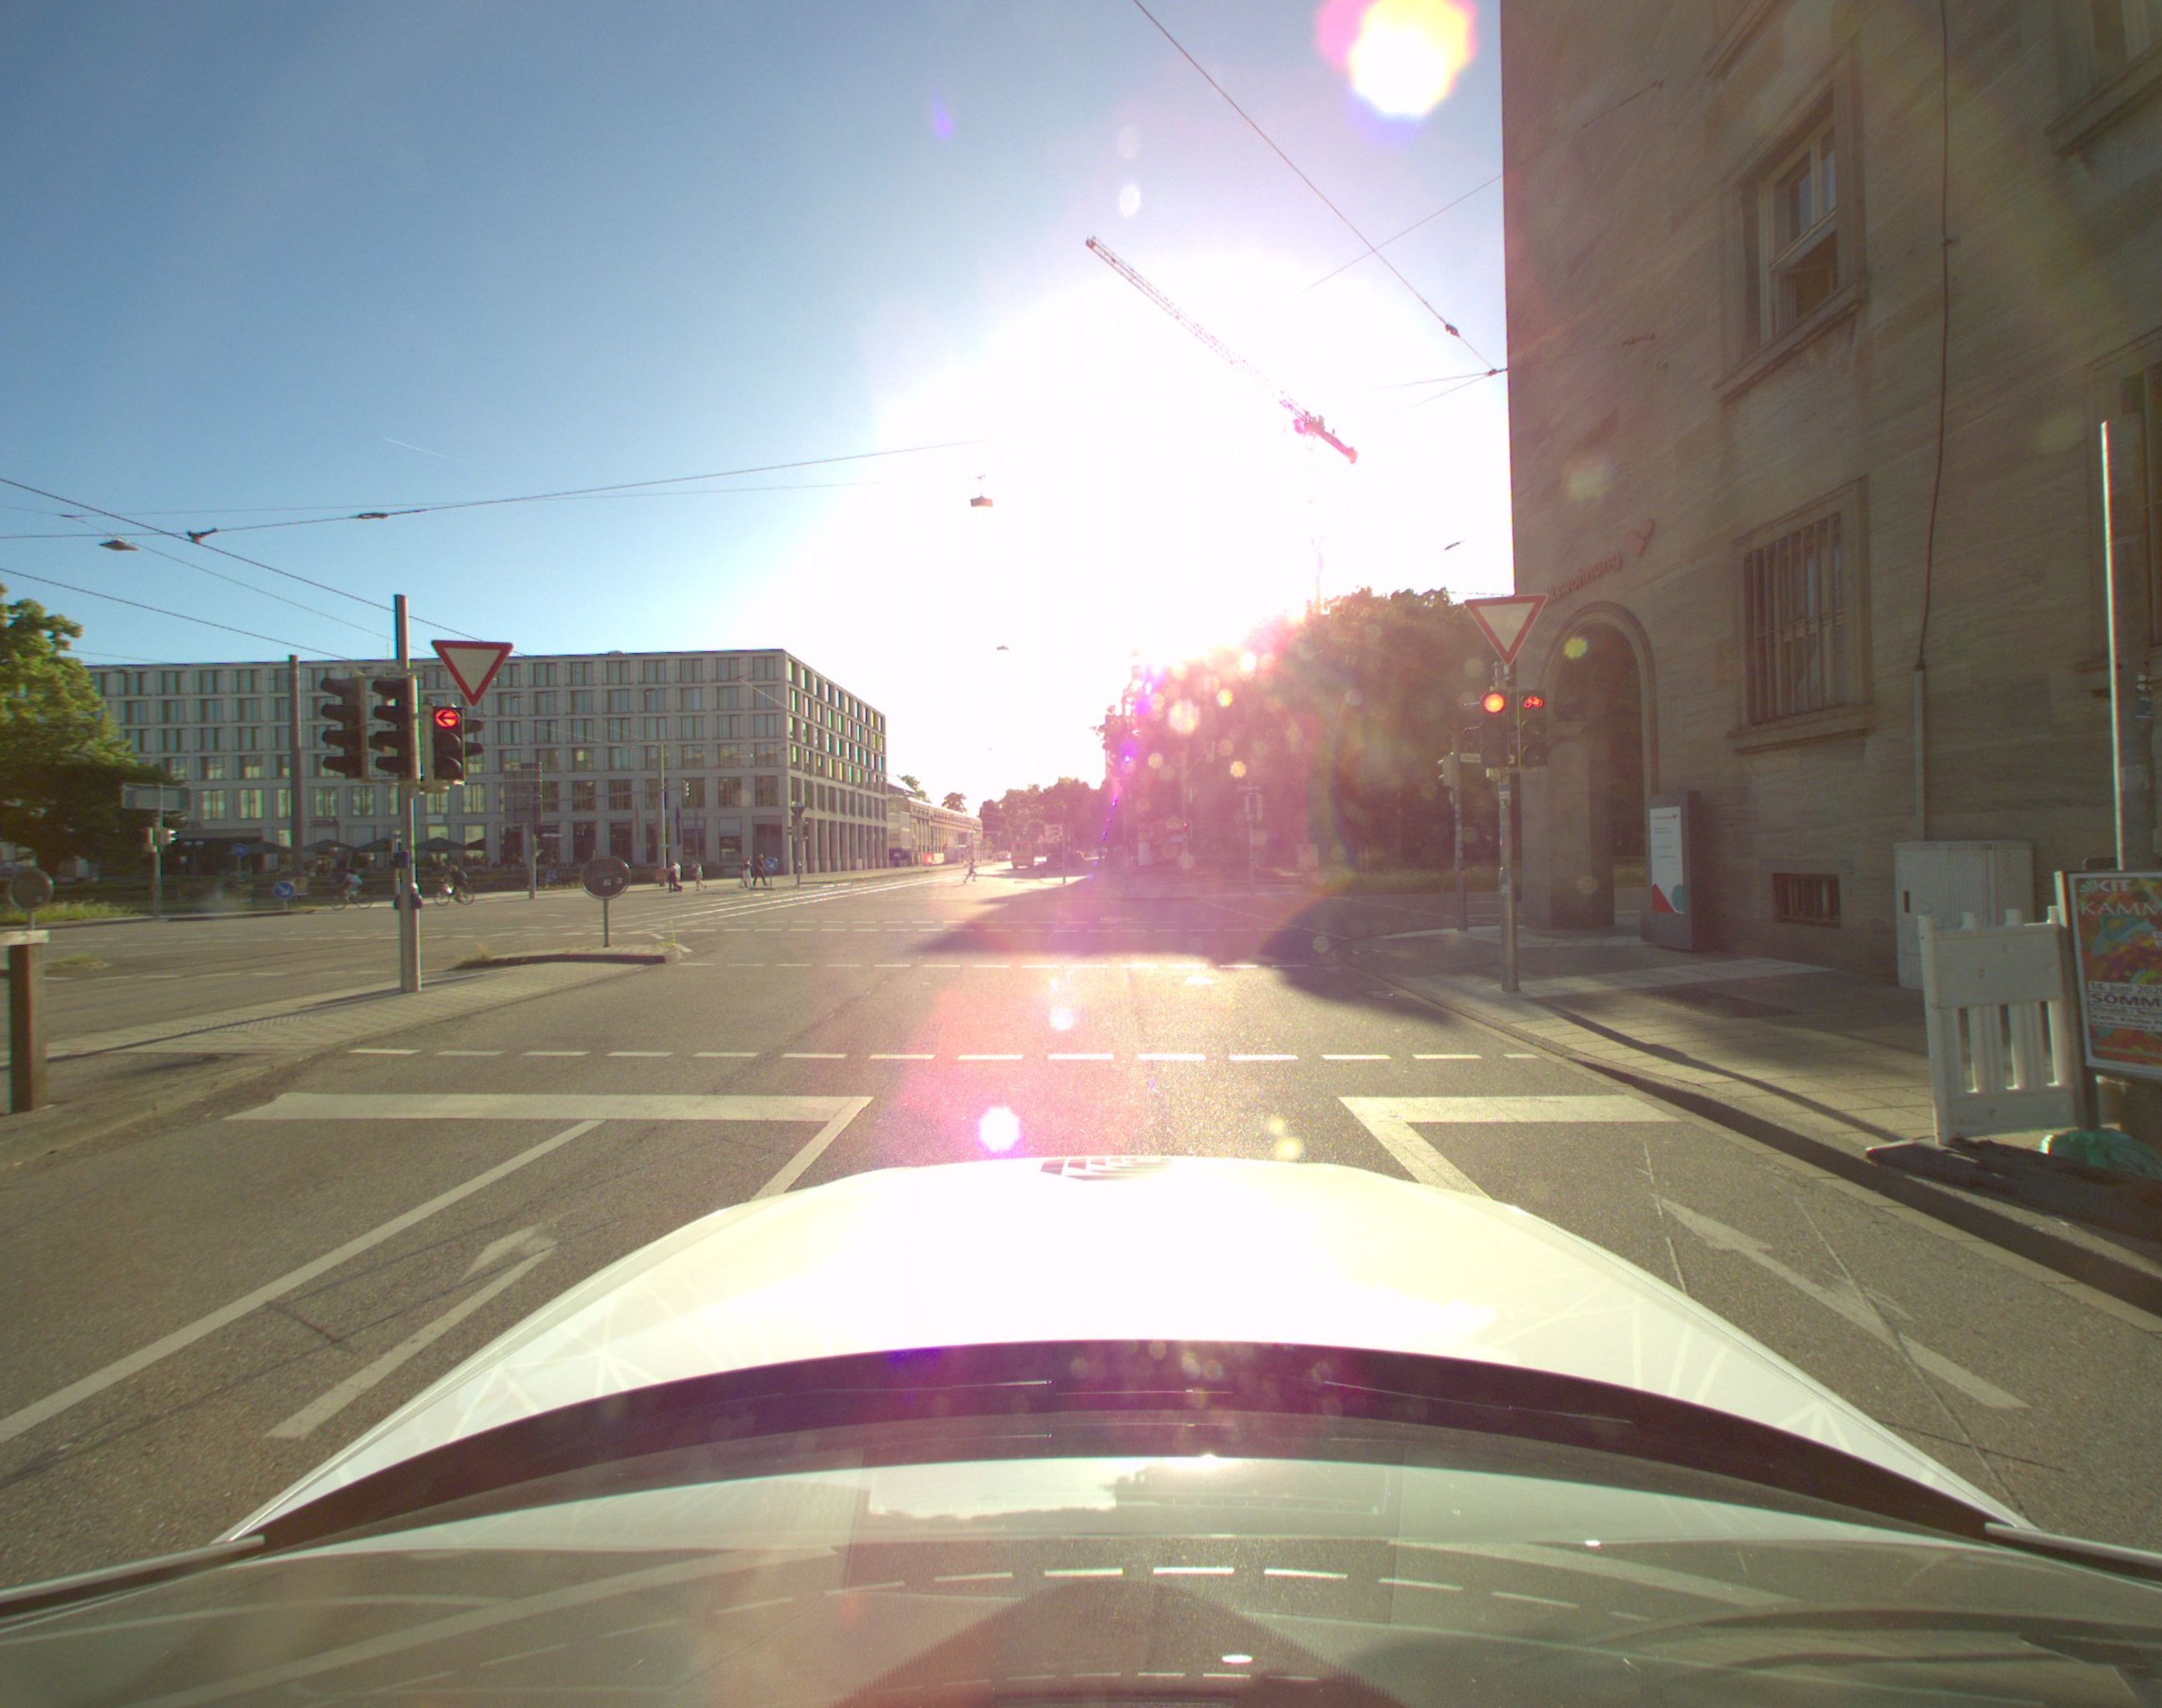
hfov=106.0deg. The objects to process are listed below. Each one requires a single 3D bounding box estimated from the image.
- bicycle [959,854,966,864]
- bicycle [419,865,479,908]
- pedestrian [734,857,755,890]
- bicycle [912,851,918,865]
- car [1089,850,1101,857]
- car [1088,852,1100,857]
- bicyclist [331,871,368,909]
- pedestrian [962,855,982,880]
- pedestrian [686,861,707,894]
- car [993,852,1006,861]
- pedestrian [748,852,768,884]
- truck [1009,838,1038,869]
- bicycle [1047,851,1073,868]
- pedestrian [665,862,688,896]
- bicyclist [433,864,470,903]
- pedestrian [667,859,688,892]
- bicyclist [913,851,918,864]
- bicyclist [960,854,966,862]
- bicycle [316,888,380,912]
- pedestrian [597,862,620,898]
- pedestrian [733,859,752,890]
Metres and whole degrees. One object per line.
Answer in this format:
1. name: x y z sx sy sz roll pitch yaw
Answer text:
1. bicycle: -19.353 0.823 133.176 0.687 1.511 2.944 0 -1 0
2. bicycle: -27.186 1.388 35.052 1.899 1.735 0.594 -2 0 -13
3. pedestrian: -17.590 1.011 42.542 0.790 1.644 0.621 -2 0 -3
4. bicycle: -26.698 0.628 131.124 0.569 2.296 1.422 -2 0 0
5. car: 3.671 -0.130 213.628 3.207 1.588 1.445 0 -1 -3
6. car: 3.339 0.036 211.388 3.207 1.263 1.373 0 -1 0
7. bicyclist: -31.341 1.544 34.901 0.973 1.560 0.573 -2 0 -6
8. pedestrian: -5.834 0.729 43.751 0.991 1.317 0.766 -2 0 -4
9. pedestrian: -21.510 1.313 45.606 0.865 1.803 0.533 -2 0 7
10. car: -15.710 0.453 157.008 1.888 1.607 4.499 -2 0 0
11. pedestrian: -18.183 0.811 45.871 0.744 1.761 0.679 -2 -1 6
12. truck: -5.915 -0.042 82.511 2.712 3.016 6.476 -1 0 -6
13. bicycle: -2.069 0.543 81.616 2.538 1.744 1.038 0 -1 1
14. pedestrian: -21.834 1.335 43.972 0.865 1.803 0.665 -2 0 7
15. bicyclist: -27.104 1.249 35.075 1.075 1.641 0.594 -2 0 -13
16. pedestrian: -22.656 1.212 45.688 0.735 1.803 0.717 -2 0 7
17. bicyclist: -26.698 0.520 131.131 0.569 2.024 0.762 -2 0 0
18. bicyclist: -19.303 0.709 133.246 0.687 1.328 1.000 0 -1 0
19. bicycle: -31.392 1.965 34.887 2.062 0.933 0.573 -2 0 -7
20. pedestrian: -25.507 1.383 43.971 0.797 1.918 0.638 -2 0 7
21. pedestrian: -18.590 1.114 44.725 0.691 1.644 0.622 -2 0 2
